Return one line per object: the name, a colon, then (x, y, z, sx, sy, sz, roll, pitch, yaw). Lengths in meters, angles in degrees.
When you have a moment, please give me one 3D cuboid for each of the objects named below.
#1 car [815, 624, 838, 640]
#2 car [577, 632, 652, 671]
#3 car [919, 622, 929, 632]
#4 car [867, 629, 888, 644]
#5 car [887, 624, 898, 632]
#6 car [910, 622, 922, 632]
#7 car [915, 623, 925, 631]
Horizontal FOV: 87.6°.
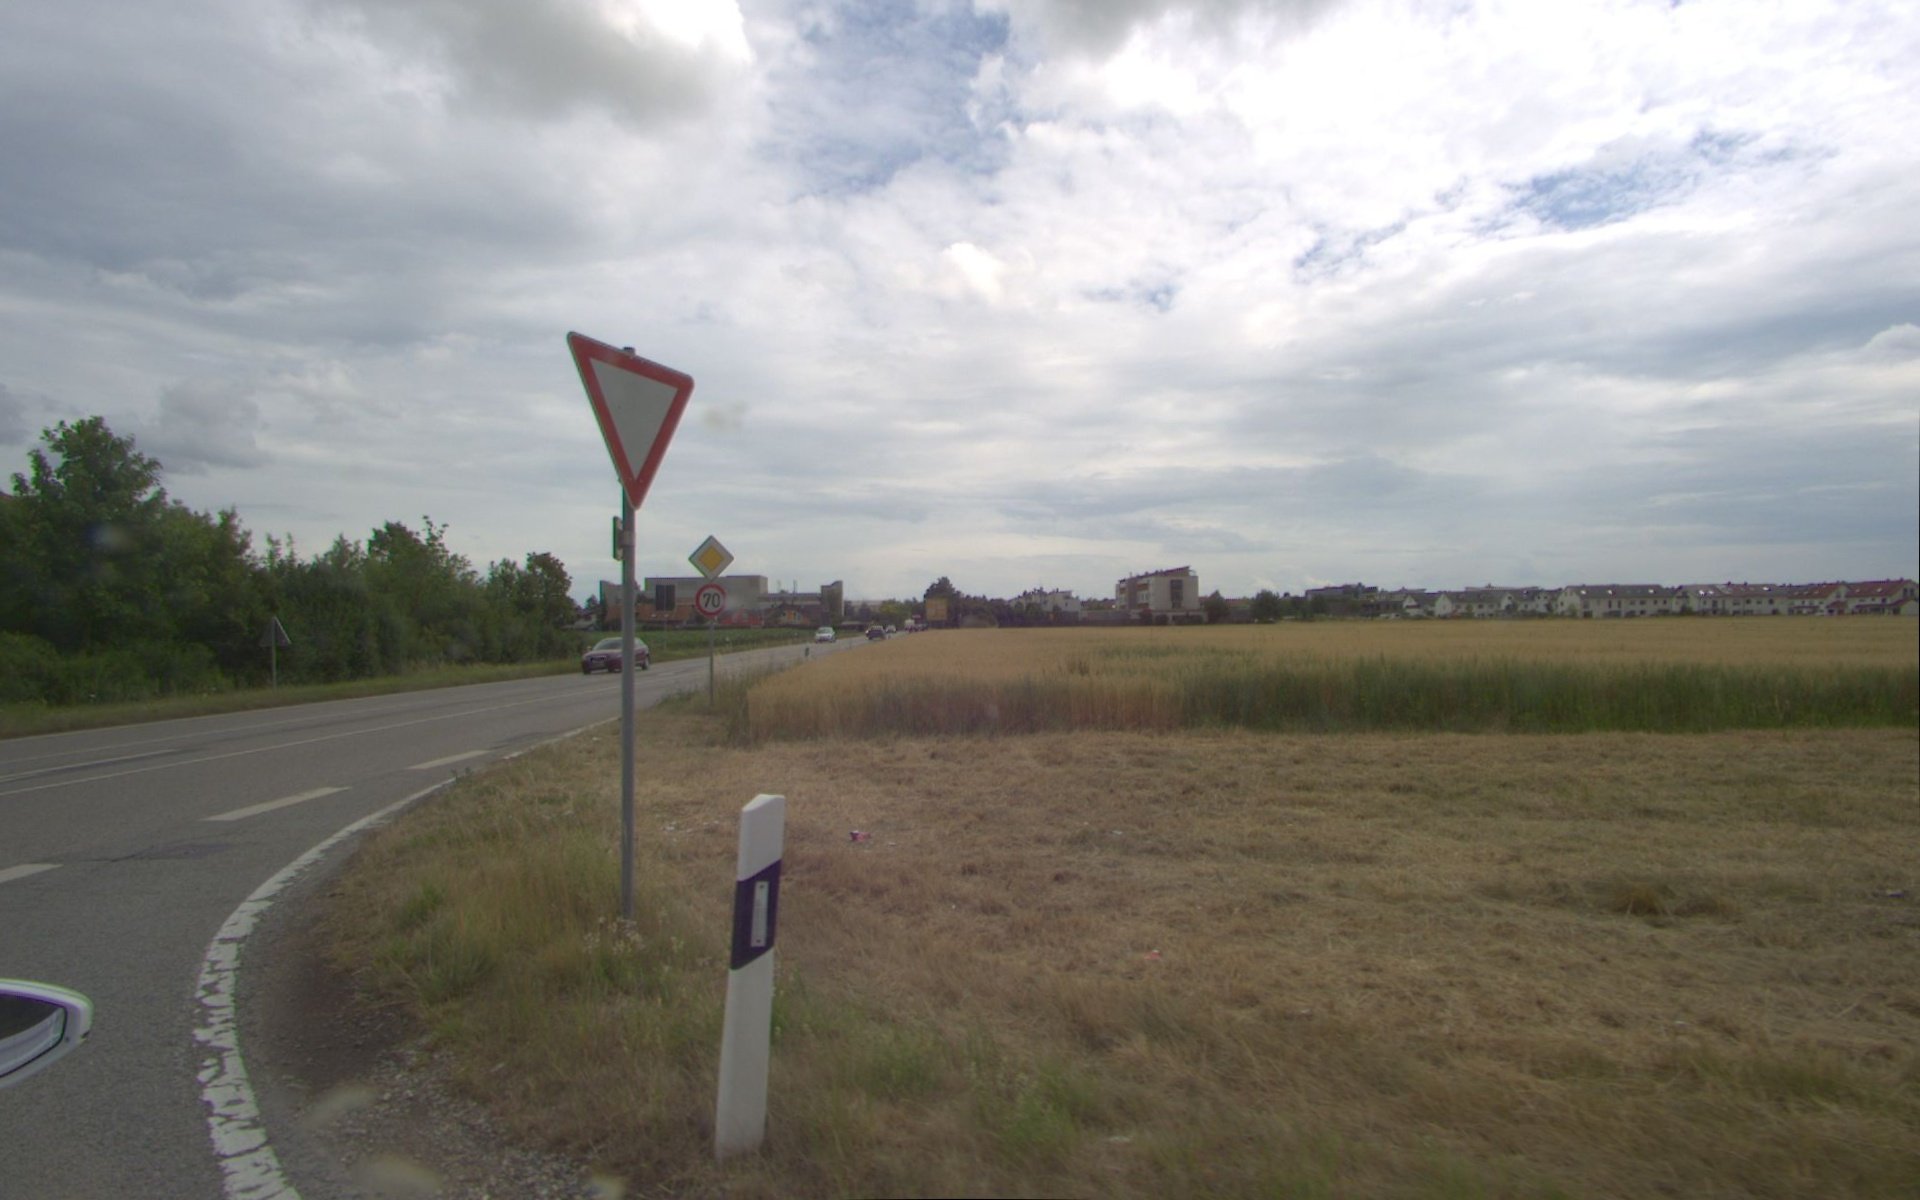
car: (-13.273, 3.196, 99.542, 1.701, 1.450, 3.935, -2, -1, -1)
car: (-14.296, 2.098, 41.646, 1.645, 1.420, 4.090, -2, -1, 1)
car: (-8.185, 6.183, 228.822, 2.079, 2.040, 4.740, 0, -1, 1)
car: (-9.253, 4.035, 112.388, 1.828, 1.586, 4.000, -1, -1, 3)
car: (-12.205, 5.020, 180.788, 1.641, 1.447, 4.304, -2, -1, 0)
car: (-8.089, 4.919, 184.193, 1.828, 1.750, 4.000, -1, -1, 3)
car: (-8.196, 5.533, 205.471, 1.828, 1.750, 4.000, -1, -1, 3)
